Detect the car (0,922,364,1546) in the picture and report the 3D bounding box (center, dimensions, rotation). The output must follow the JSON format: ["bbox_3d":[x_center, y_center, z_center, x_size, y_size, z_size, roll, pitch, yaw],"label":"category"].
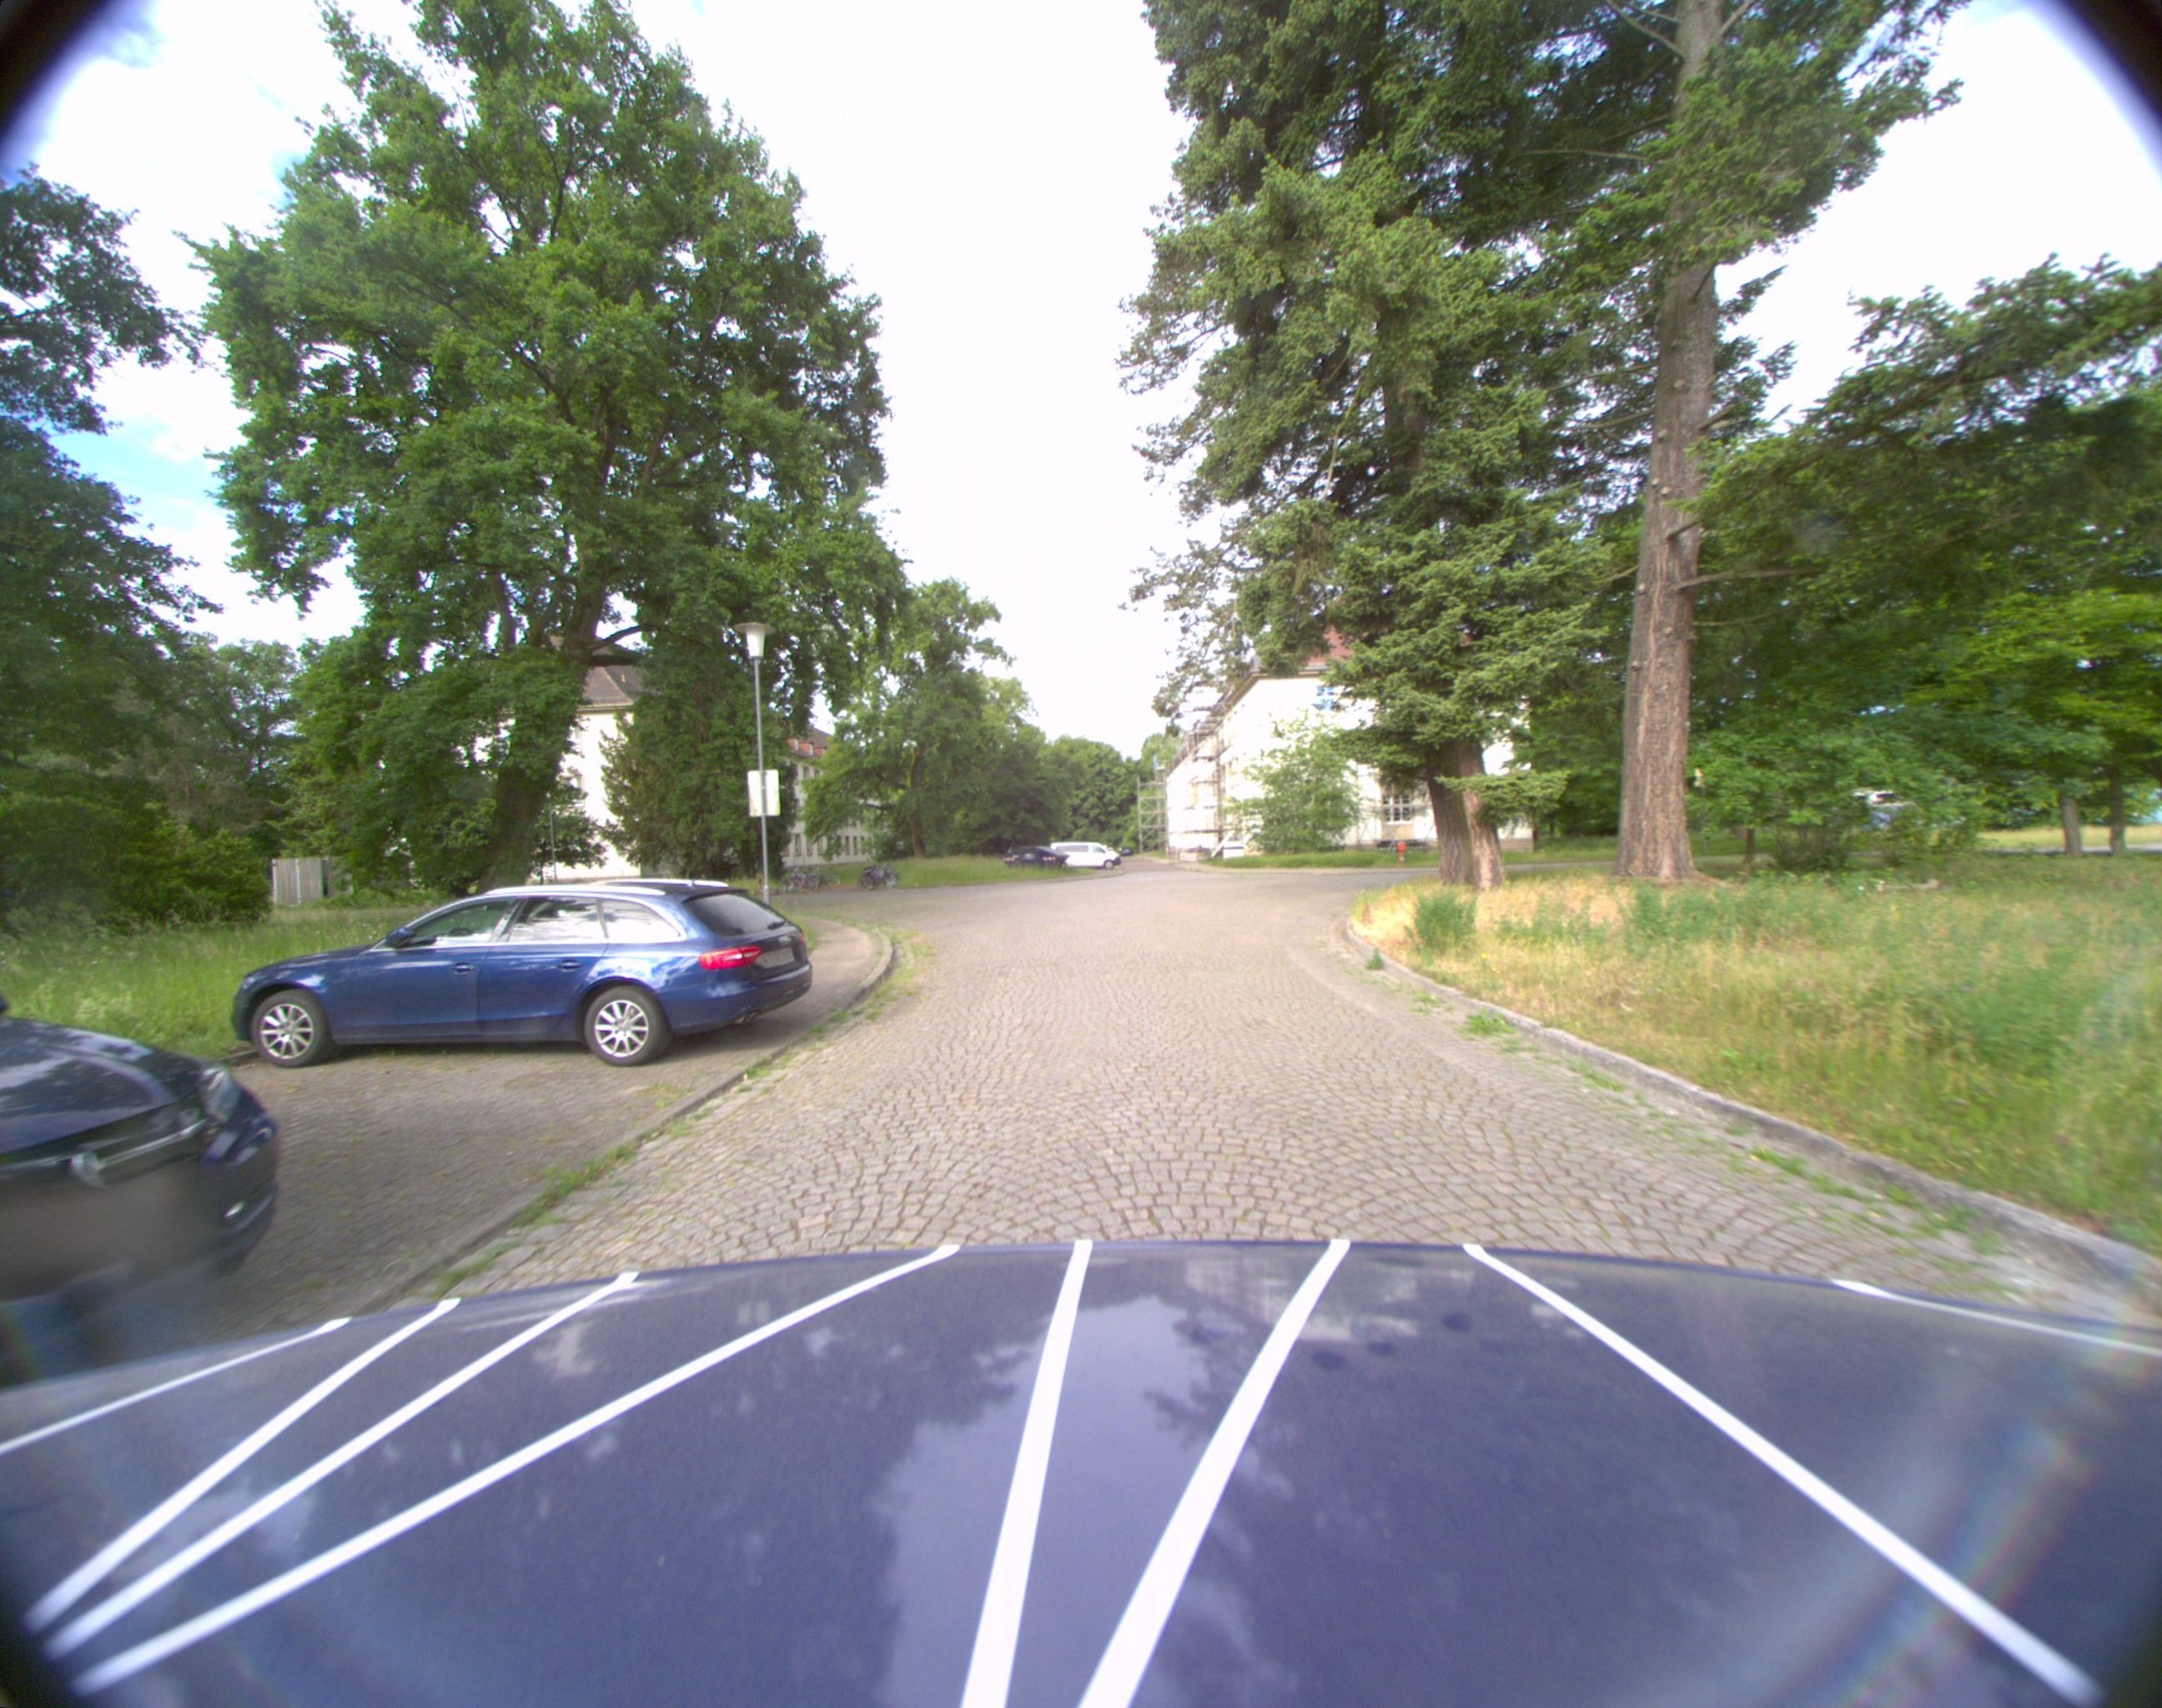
[{"bbox_3d":[-5.015,1.093,2.096,4.273,1.564,1.895,-1,0,1],"label":"car"}]

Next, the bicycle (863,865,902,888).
[{"bbox_3d":[-10.225,1.152,39.137,1.868,1.082,0.519,-2,3,-20],"label":"bicycle"}]

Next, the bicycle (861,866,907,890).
[{"bbox_3d":[-9.309,1.136,35.894,2.019,1.004,0.478,-2,3,-20],"label":"bicycle"}]

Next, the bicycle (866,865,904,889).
[{"bbox_3d":[-9.905,1.152,38.407,1.790,1.082,0.478,-2,3,-20],"label":"bicycle"}]

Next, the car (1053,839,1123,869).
[{"bbox_3d":[0.497,0.012,55.444,4.915,1.983,2.000,-2,1,-1],"label":"car"}]

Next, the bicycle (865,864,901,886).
[{"bbox_3d":[-10.663,1.141,40.989,1.810,1.082,0.552,-2,3,-20],"label":"bicycle"}]

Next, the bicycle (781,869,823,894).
[{"bbox_3d":[-13.136,1.283,35.790,1.815,1.082,0.478,-2,3,-25],"label":"bicycle"}]

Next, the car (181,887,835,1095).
[{"bbox_3d":[-4.792,1.098,6.789,4.514,1.456,1.896,-1,1,5],"label":"car"}]

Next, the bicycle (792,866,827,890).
[{"bbox_3d":[-13.571,1.195,37.983,1.568,1.082,0.561,-2,1,-29],"label":"bicycle"}]

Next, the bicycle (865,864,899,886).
[{"bbox_3d":[-10.929,1.141,41.723,1.752,1.082,0.552,-2,3,-20],"label":"bicycle"}]

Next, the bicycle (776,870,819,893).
[{"bbox_3d":[-13.520,1.295,36.227,1.859,0.984,0.455,-2,1,-25],"label":"bicycle"}]

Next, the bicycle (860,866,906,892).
[{"bbox_3d":[-9.212,1.173,35.413,2.019,1.082,0.478,-2,3,-20],"label":"bicycle"}]

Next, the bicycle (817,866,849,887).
[{"bbox_3d":[-13.204,1.201,40.436,1.567,1.028,0.475,-2,1,-22],"label":"bicycle"}]

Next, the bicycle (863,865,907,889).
[{"bbox_3d":[-9.703,1.116,37.613,2.019,1.082,0.478,-2,3,-20],"label":"bicycle"}]

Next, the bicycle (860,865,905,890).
[{"bbox_3d":[-9.653,1.138,36.974,2.019,1.082,0.478,-2,3,-20],"label":"bicycle"}]

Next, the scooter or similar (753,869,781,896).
[{"bbox_3d":[-14.489,1.326,35.045,1.062,1.188,0.385,-2,1,4],"label":"scooter or similar"}]

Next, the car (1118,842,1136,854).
[{"bbox_3d":[7.334,-0.945,121.660,2.028,1.915,3.996,-2,1,-9],"label":"car"}]
